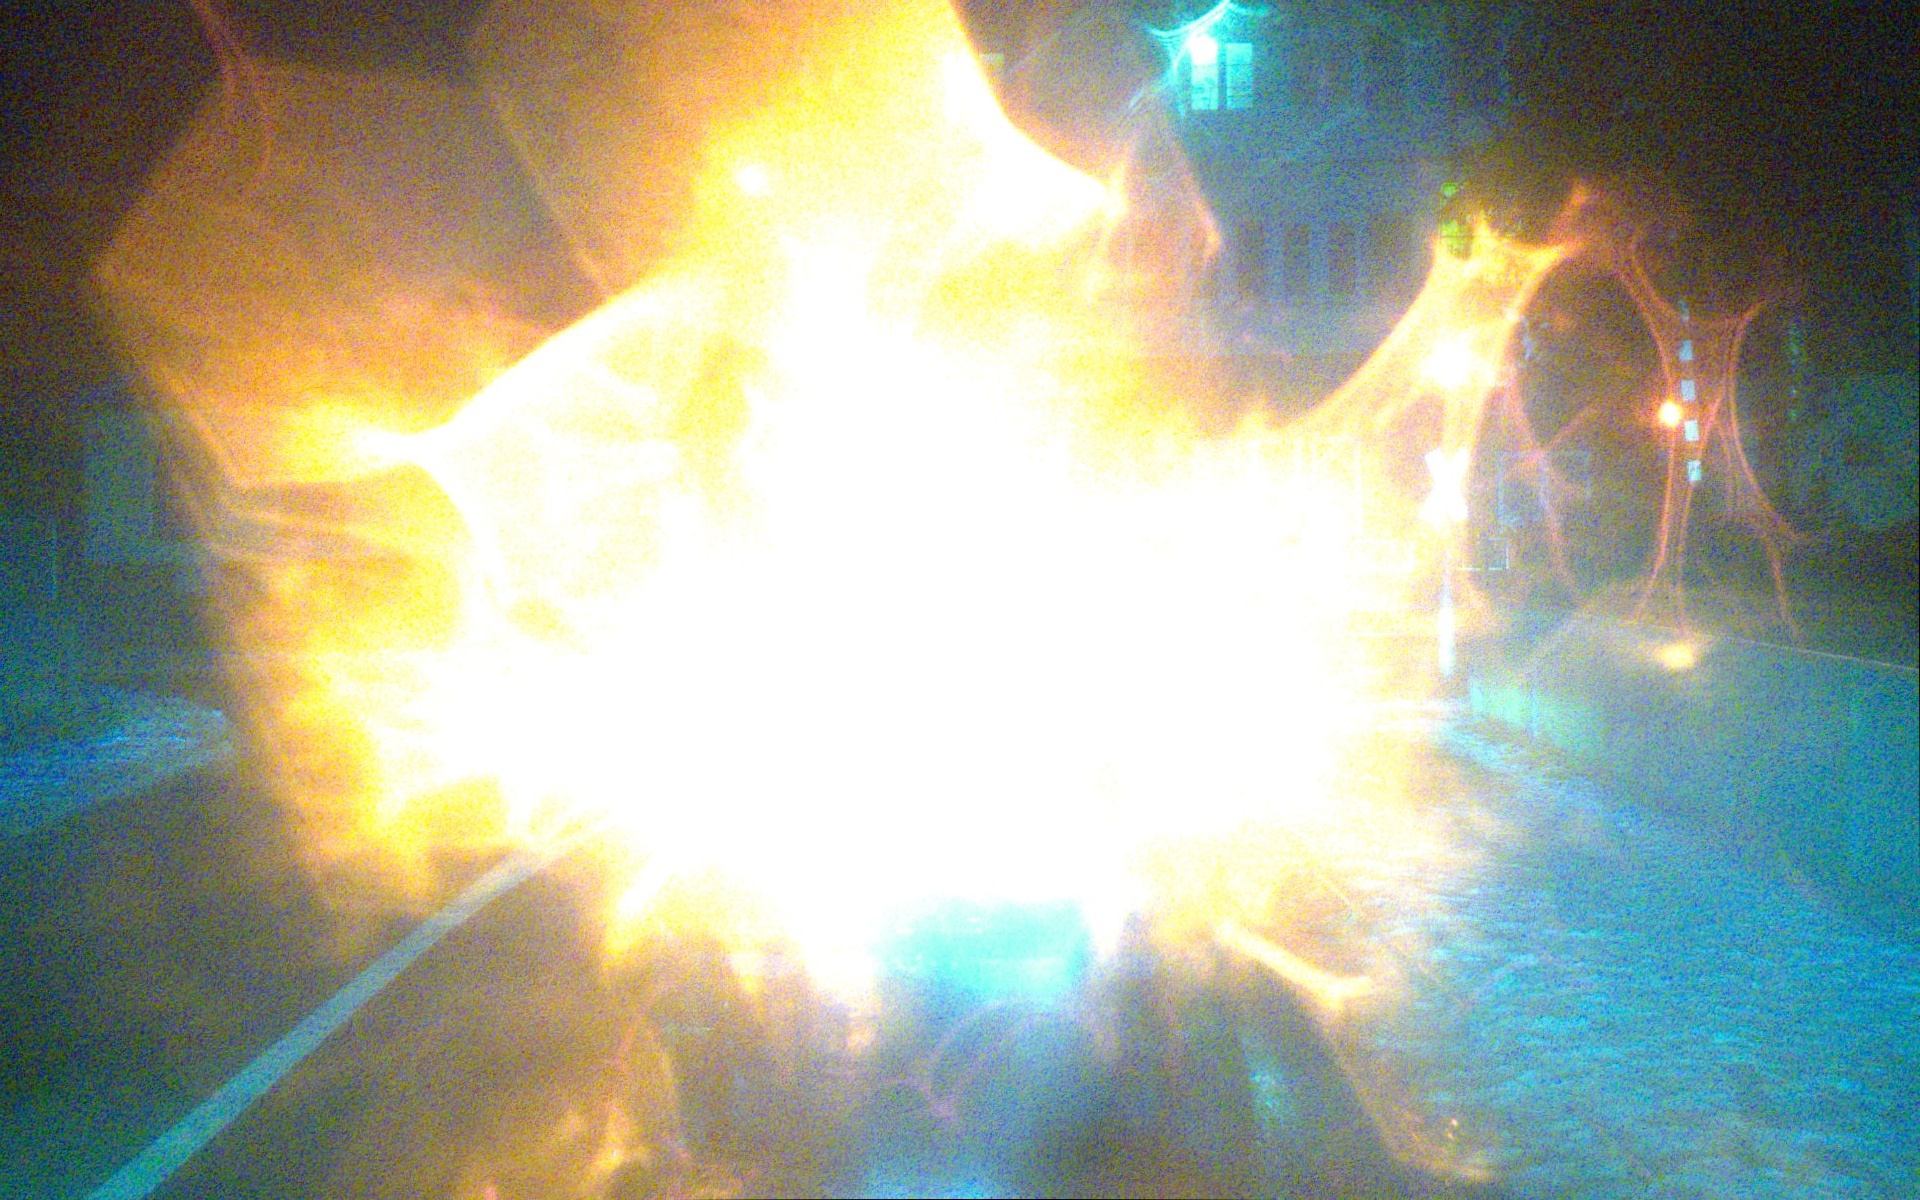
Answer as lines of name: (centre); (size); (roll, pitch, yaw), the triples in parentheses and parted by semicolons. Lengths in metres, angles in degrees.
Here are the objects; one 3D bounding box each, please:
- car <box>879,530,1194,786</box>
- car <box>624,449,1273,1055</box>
car: (0.553, 0.287, 21.119); (1.744, 1.410, 4.000); (0, 1, 4)
car: (0.021, 0.369, 11.473); (1.791, 1.675, 3.904); (0, 2, 2)
